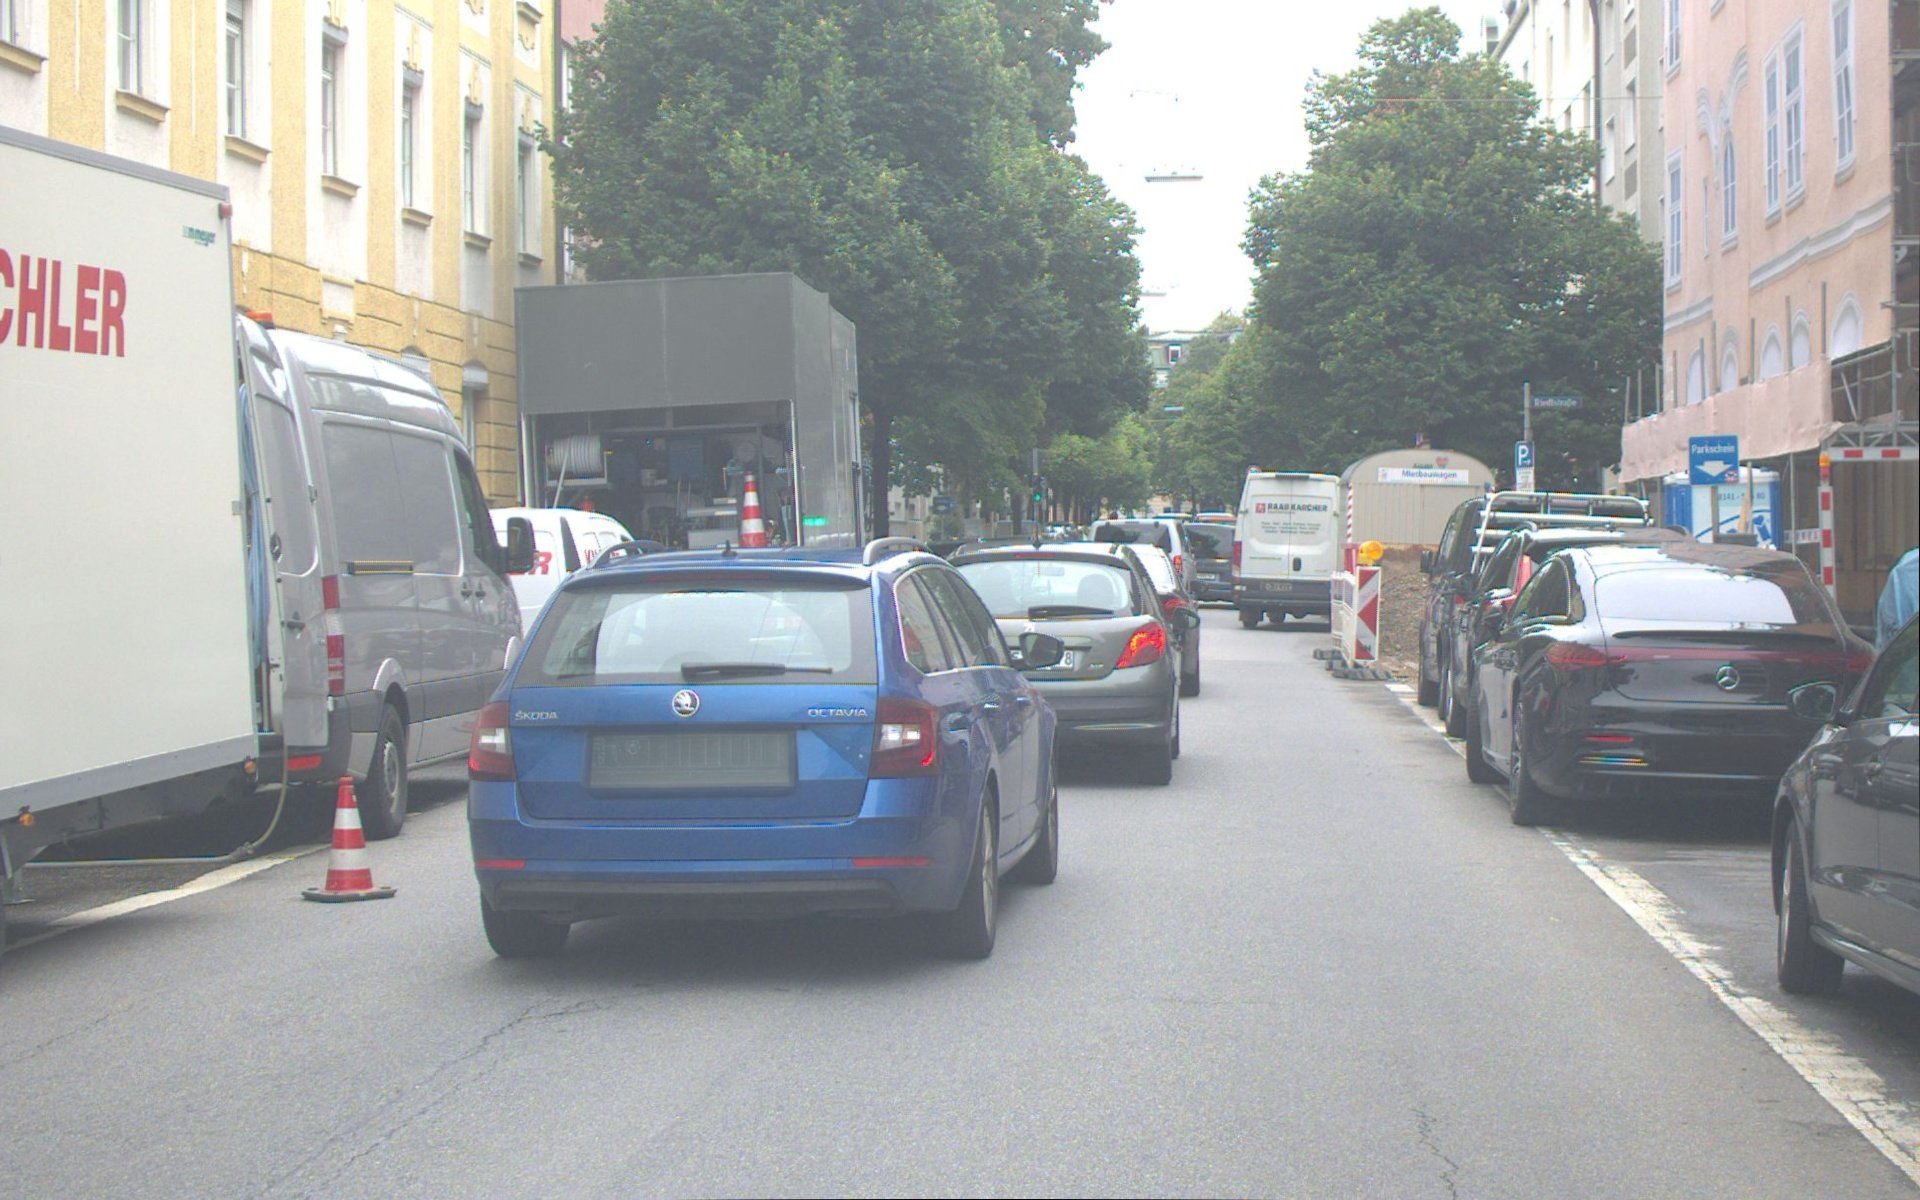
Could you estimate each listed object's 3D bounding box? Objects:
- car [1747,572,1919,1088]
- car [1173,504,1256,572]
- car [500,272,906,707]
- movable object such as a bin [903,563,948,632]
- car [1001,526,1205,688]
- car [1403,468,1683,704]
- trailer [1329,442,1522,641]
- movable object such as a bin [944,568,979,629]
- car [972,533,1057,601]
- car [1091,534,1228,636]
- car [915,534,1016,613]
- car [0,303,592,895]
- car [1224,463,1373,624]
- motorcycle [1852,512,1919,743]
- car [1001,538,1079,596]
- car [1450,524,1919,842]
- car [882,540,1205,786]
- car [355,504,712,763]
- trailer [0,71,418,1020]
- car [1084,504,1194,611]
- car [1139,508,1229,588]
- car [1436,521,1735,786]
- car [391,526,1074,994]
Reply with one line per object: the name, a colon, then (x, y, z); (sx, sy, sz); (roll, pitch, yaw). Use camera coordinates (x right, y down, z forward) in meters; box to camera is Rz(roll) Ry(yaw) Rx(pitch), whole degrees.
car: (3.422, 0.616, 9.926); (1.572, 1.390, 4.182); (-1, 1, 4)
car: (6.434, -1.586, 86.982); (2.008, 1.647, 4.347); (1, 2, 4)
car: (-2.346, -1.028, 34.715); (2.813, 3.804, 8.722); (-1, 1, 4)
movable object such as a bin: (-0.592, -0.042, 58.732); (0.711, 1.144, 0.636); (-2, 1, 1)
car: (1.456, 0.019, 34.074); (1.867, 1.449, 4.347); (1, 2, 3)
car: (5.154, -0.059, 31.033); (2.083, 1.914, 5.139); (1, -1, 5)
trailer: (7.097, -0.876, 53.104); (2.502, 2.830, 6.900); (1, 1, 4)
movable object such as a bin: (0.030, -0.024, 58.744); (0.546, 1.017, 0.636); (-2, 1, 1)
car: (1.252, -0.768, 78.103); (1.812, 1.473, 4.000); (0, 1, 2)
car: (2.922, -0.244, 49.669); (1.868, 1.343, 4.347); (1, 2, 4)
car: (0.133, -0.546, 67.429); (1.812, 1.473, 4.000); (0, 1, 2)
car: (-3.761, -0.042, 19.024); (2.056, 2.578, 6.876); (-4, 1, 4)
car: (5.996, -0.970, 60.309); (2.113, 2.654, 5.498); (1, 1, 10)
motorcycle: (6.638, 0.164, 23.278); (0.872, 1.499, 1.997); (0, 1, 6)
car: (2.121, -0.886, 90.112); (1.812, 1.473, 4.000); (0, 1, 4)
car: (4.013, 0.351, 19.689); (1.931, 1.547, 5.636); (0, 1, 4)
car: (0.611, 0.348, 21.827); (1.741, 1.417, 3.663); (-1, 1, 6)
car: (-3.170, 0.203, 26.427); (1.763, 1.773, 4.326); (-2, 1, 5)
trailer: (-4.311, -0.139, 11.542); (2.804, 2.959, 7.598); (-3, 1, 7)
car: (3.325, -0.820, 63.175); (1.868, 1.863, 4.347); (1, 2, 4)
car: (4.892, -1.145, 74.610); (1.868, 1.647, 4.347); (1, 2, 4)
car: (4.450, 0.332, 25.009); (1.694, 1.671, 4.407); (3, 1, 5)
car: (-0.653, 0.474, 12.932); (1.789, 1.455, 4.313); (0, 1, 7)
